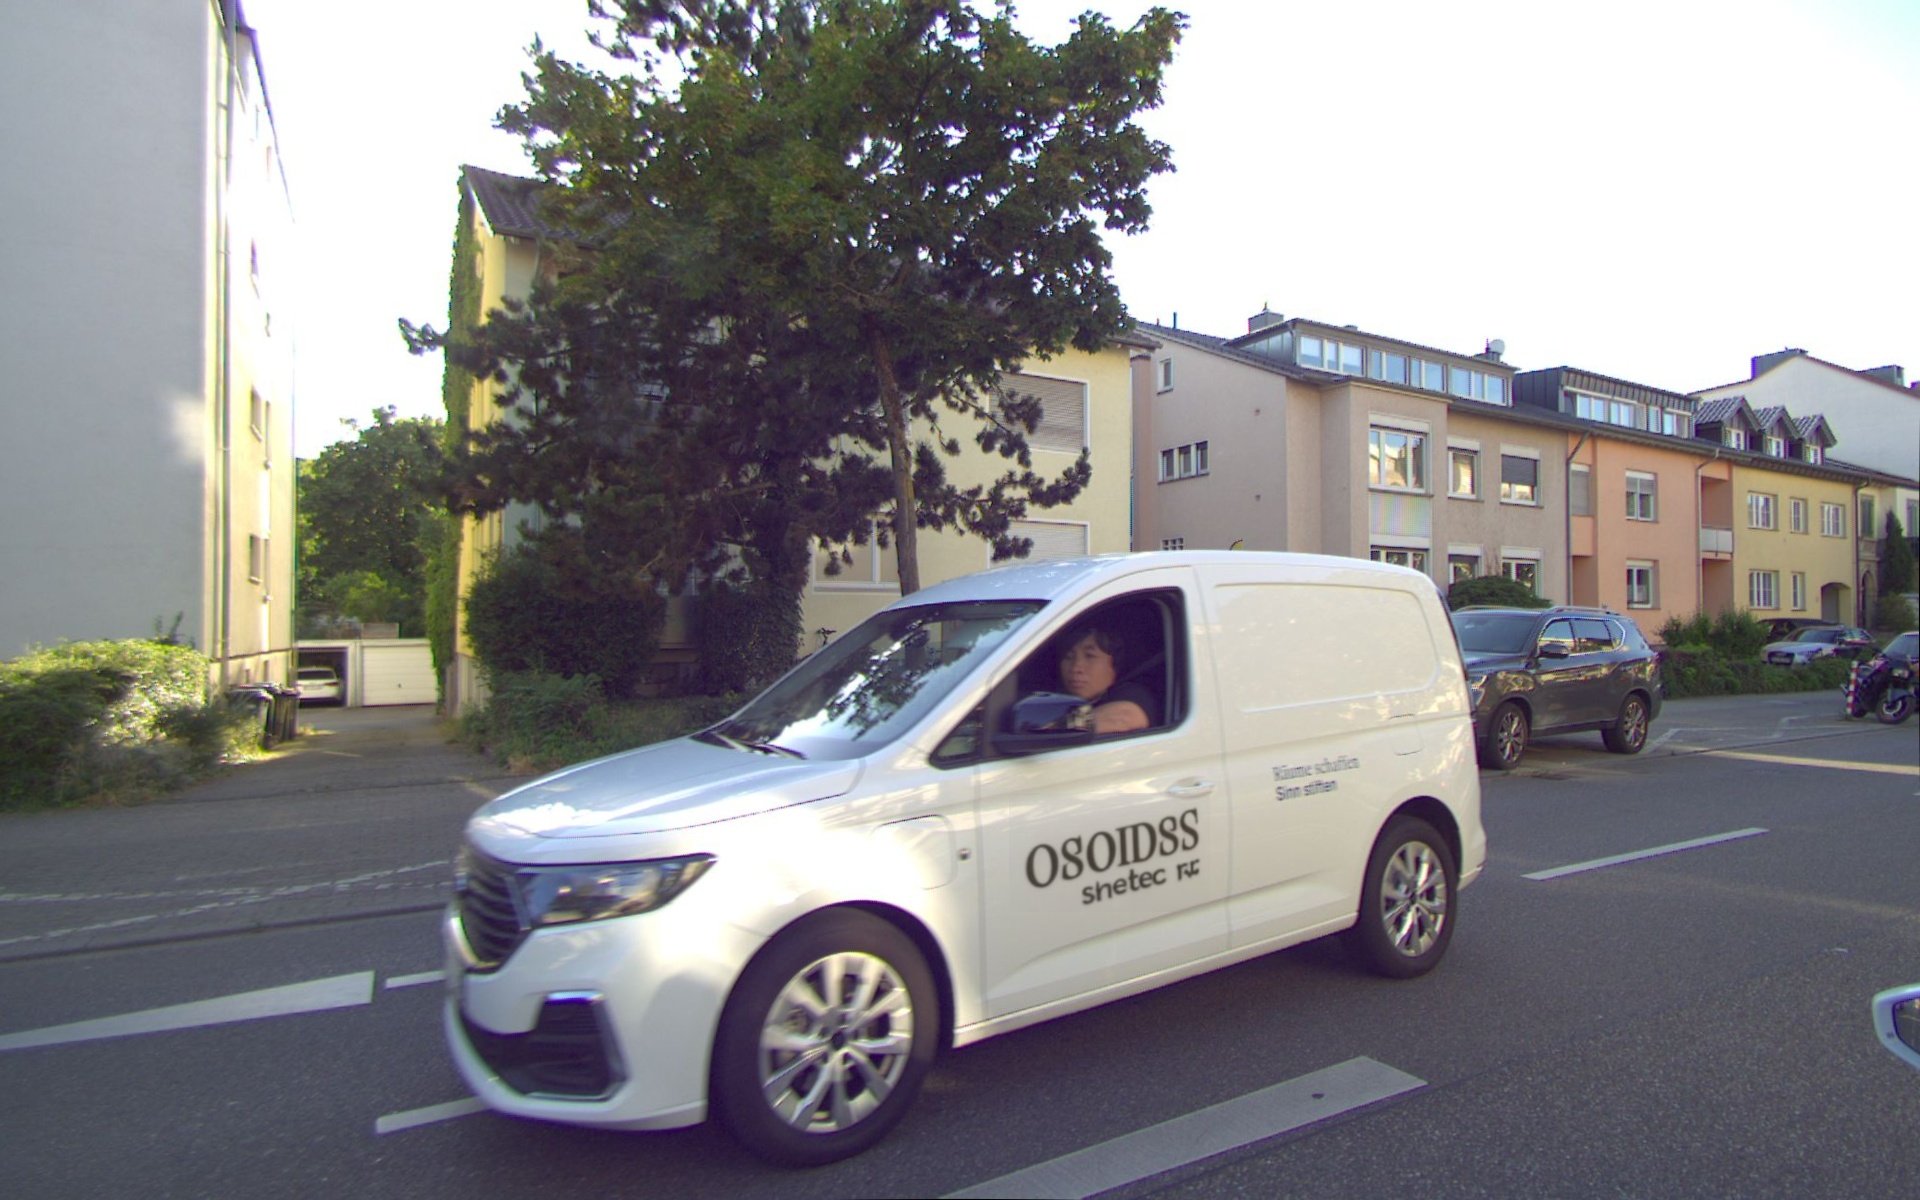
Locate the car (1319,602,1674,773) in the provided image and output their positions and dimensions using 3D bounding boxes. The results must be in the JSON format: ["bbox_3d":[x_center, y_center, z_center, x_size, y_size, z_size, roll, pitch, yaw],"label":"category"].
[{"bbox_3d":[6.843,0.980,12.677,4.673,1.803,1.877,1,-2,-32],"label":"car"}]

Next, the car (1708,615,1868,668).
[{"bbox_3d":[29.200,1.411,35.554,1.843,1.658,3.970,1,0,-28],"label":"car"}]

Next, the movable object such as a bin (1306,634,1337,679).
[{"bbox_3d":[9.108,1.423,25.318,0.579,1.105,0.486,1,-1,-30],"label":"movable object such as a bin"}]

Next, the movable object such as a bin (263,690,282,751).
[{"bbox_3d":[-11.887,2.080,17.374,0.205,1.015,0.522,1,-2,-29],"label":"movable object such as a bin"}]

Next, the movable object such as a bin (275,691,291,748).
[{"bbox_3d":[-12.639,2.217,18.756,0.205,1.015,0.522,1,-2,-29],"label":"movable object such as a bin"}]

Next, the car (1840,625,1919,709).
[{"bbox_3d":[19.014,1.273,19.666,3.392,1.543,1.587,1,-1,-28],"label":"car"}]

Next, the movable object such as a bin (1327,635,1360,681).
[{"bbox_3d":[9.460,1.426,24.779,0.579,1.105,0.486,1,-1,-30],"label":"movable object such as a bin"}]

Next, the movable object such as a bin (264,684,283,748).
[{"bbox_3d":[-11.376,1.913,16.644,0.205,1.015,0.522,1,-2,-29],"label":"movable object such as a bin"}]

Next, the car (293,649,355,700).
[{"bbox_3d":[-25.744,2.976,40.763,1.824,1.894,3.972,1,-2,-28],"label":"car"}]

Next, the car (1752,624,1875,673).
[{"bbox_3d":[26.068,1.455,30.660,3.706,1.427,1.658,1,-2,-29],"label":"car"}]

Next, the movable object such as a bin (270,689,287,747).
[{"bbox_3d":[-12.306,2.125,18.140,0.205,1.015,0.522,1,-2,-29],"label":"movable object such as a bin"}]

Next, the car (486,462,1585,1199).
[{"bbox_3d":[0.505,0.678,4.261,4.382,1.827,1.878,1,-3,-32],"label":"car"}]

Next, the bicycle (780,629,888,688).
[{"bbox_3d":[-2.382,1.101,19.128,2.022,1.078,0.516,1,-1,-31],"label":"bicycle"}]

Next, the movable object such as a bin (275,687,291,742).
[{"bbox_3d":[-12.982,2.184,19.269,0.205,1.015,0.522,1,-2,-29],"label":"movable object such as a bin"}]

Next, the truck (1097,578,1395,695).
[{"bbox_3d":[6.071,0.780,22.574,2.249,2.214,6.864,1,-2,-29],"label":"truck"}]

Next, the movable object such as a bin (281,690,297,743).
[{"bbox_3d":[-13.300,2.305,19.910,0.205,1.015,0.522,1,-2,-29],"label":"movable object such as a bin"}]

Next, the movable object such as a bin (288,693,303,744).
[{"bbox_3d":[-13.900,2.465,21.001,0.205,1.015,0.522,1,-2,-29],"label":"movable object such as a bin"}]

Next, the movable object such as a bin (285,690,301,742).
[{"bbox_3d":[-13.607,2.368,20.491,0.205,1.015,0.522,1,-2,-29],"label":"movable object such as a bin"}]

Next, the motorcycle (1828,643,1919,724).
[{"bbox_3d":[15.958,1.402,17.410,1.164,1.282,2.362,-1,-2,36],"label":"motorcycle"}]

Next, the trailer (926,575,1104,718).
[{"bbox_3d":[0.800,0.707,15.942,1.535,2.040,2.758,1,-2,-32],"label":"trailer"}]

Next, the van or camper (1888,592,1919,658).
[{"bbox_3d":[43.141,1.139,41.431,2.325,2.810,6.764,1,1,-30],"label":"van or camper"}]
